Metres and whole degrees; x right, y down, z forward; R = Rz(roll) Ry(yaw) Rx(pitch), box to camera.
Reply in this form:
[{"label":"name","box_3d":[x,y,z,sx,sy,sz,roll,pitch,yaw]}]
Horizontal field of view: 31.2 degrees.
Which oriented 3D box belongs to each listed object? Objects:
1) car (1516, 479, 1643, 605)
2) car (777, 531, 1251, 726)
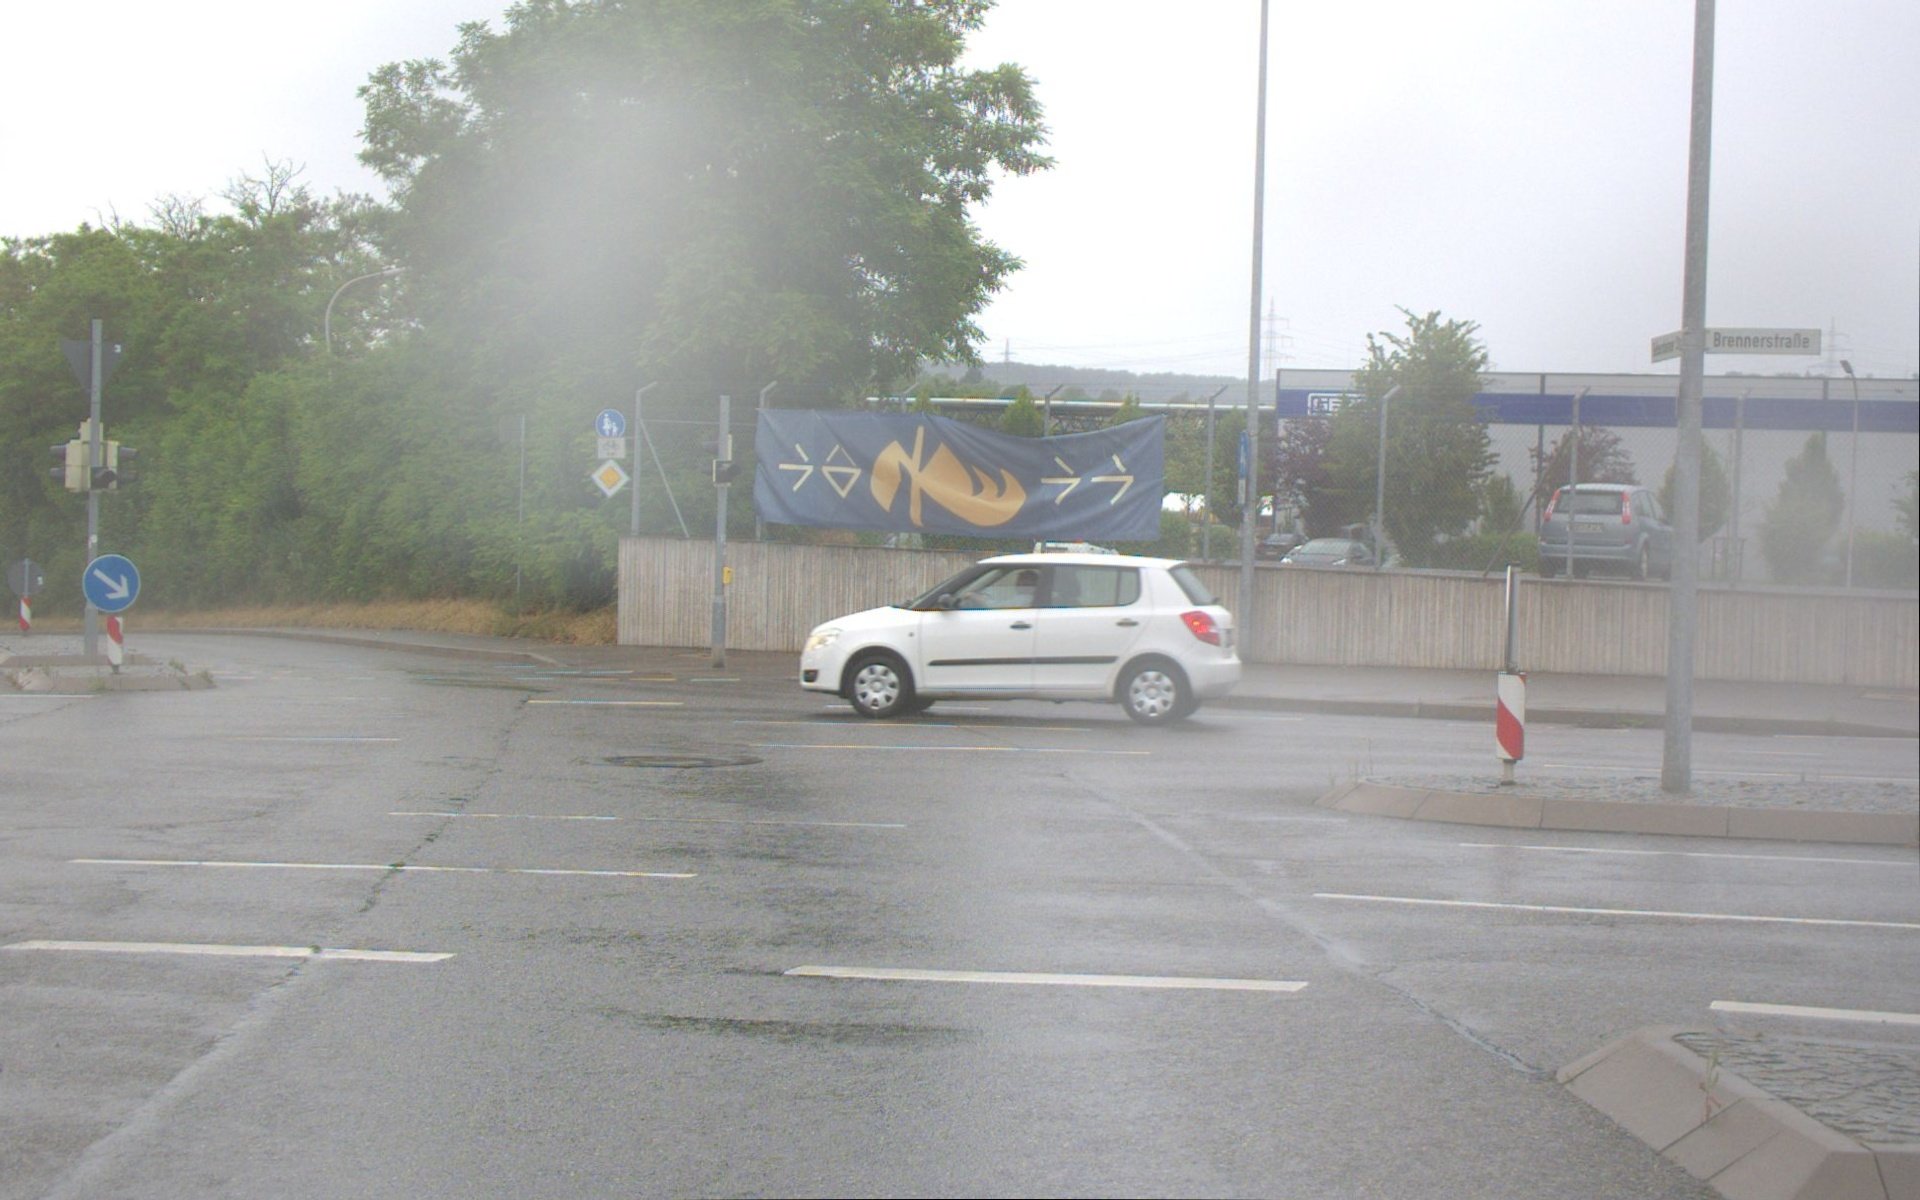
[{"label":"car","box_3d":[10.458,-0.977,57.879,1.994,2.007,3.998,2,1,11]},{"label":"car","box_3d":[0.530,0.221,31.047,3.989,1.590,1.956,2,1,10]}]
